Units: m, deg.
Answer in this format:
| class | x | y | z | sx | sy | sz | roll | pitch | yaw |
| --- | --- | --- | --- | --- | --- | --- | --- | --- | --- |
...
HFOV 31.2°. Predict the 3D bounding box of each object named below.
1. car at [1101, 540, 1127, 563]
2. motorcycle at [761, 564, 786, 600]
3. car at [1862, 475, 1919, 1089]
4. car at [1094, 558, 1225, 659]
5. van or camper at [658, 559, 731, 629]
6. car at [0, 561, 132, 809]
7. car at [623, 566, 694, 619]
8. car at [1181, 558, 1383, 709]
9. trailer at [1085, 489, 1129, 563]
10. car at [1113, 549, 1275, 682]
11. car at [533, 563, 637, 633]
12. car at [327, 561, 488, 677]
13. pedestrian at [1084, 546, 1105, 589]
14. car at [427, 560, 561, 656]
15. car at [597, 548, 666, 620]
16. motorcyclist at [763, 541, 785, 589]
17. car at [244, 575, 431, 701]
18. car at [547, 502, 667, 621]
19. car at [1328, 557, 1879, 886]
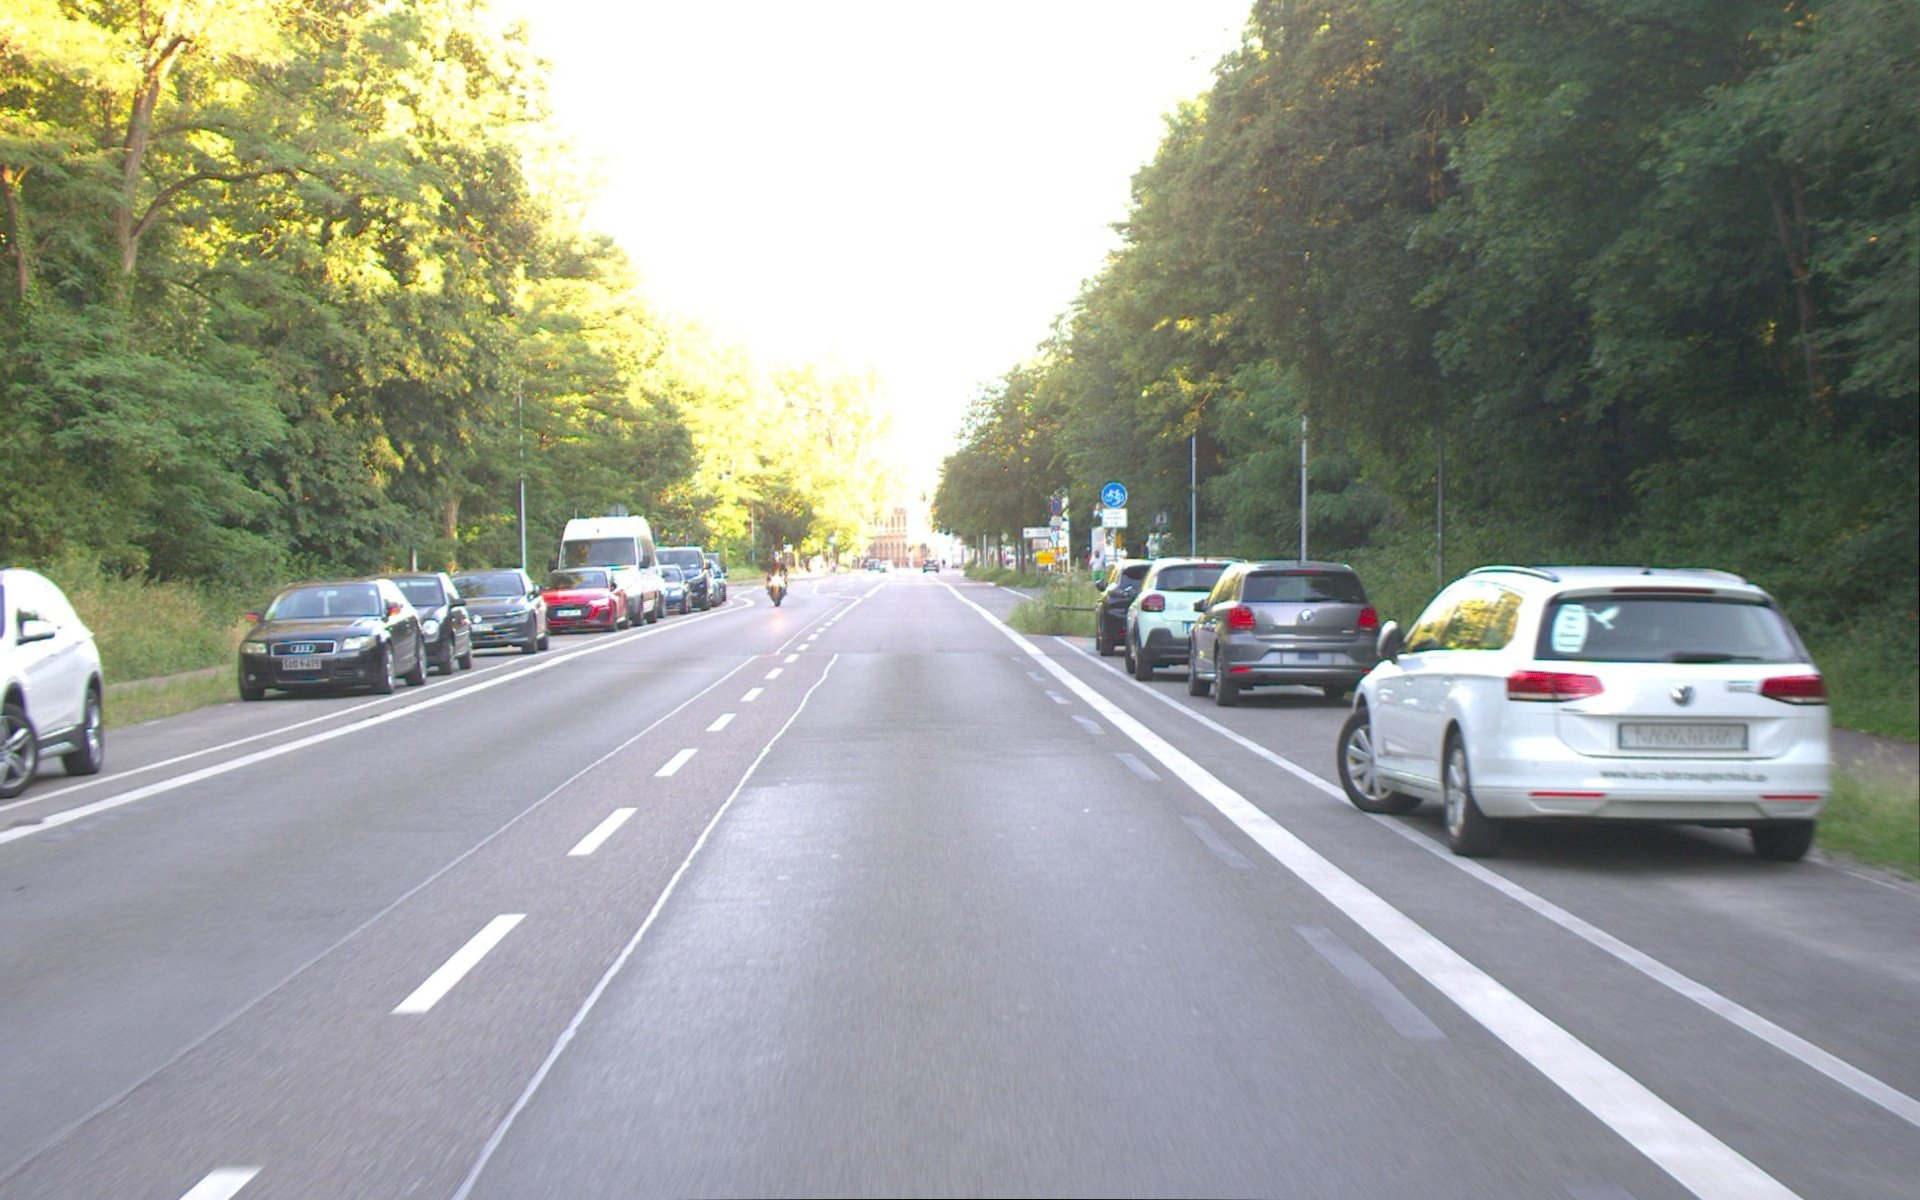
| class | x | y | z | sx | sy | sz | roll | pitch | yaw |
| --- | --- | --- | --- | --- | --- | --- | --- | --- | --- |
| car | 11.003 | -3.468 | 244.844 | 1.770 | 1.578 | 4.818 | 1 | 0 | 3 |
| motorcycle | -5.926 | -0.578 | 109.374 | 0.611 | 1.123 | 1.961 | -1 | 1 | 2 |
| car | 3.791 | 0.565 | 8.056 | 1.851 | 1.759 | 4.725 | 1 | 1 | -3 |
| car | 2.984 | 0.100 | 52.079 | 1.710 | 1.439 | 4.122 | 0 | 1 | -1 |
| van or camper | -8.199 | -0.218 | 106.573 | 2.002 | 2.011 | 5.462 | -3 | 1 | -3 |
| car | -7.371 | 0.577 | 25.029 | 1.695 | 1.640 | 4.573 | -2 | 1 | -2 |
| car | -8.718 | -0.242 | 99.749 | 1.669 | 1.428 | 4.447 | -2 | 1 | -1 |
| car | 3.278 | 0.306 | 35.586 | 1.579 | 1.441 | 3.961 | -1 | 1 | -2 |
| trailer | 11.085 | -5.573 | 260.006 | 3.020 | 5.443 | 7.934 | 0 | 0 | 0 |
| car | 2.845 | 0.156 | 42.488 | 1.688 | 1.541 | 4.112 | -1 | 1 | 0 |
| car | -8.145 | -0.066 | 74.968 | 1.716 | 1.425 | 4.388 | -2 | 1 | 1 |
| car | -7.774 | 0.237 | 48.671 | 1.711 | 1.503 | 3.657 | -2 | 1 | -1 |
| pedestrian | 5.620 | -1.352 | 143.249 | 0.838 | 1.745 | 0.726 | 0 | 0 | 0 |
| car | -7.848 | 0.109 | 58.224 | 1.845 | 1.457 | 4.230 | -3 | 1 | -3 |
| car | -8.787 | -0.456 | 92.232 | 1.687 | 1.852 | 4.388 | 0 | 1 | -3 |
| motorcyclist | -5.927 | -1.113 | 109.454 | 0.604 | 1.524 | 0.995 | -1 | 1 | 2 |
| car | -7.524 | 0.426 | 41.854 | 1.597 | 1.390 | 4.052 | -2 | 1 | -1 |
| car | -8.386 | -0.921 | 82.269 | 2.079 | 2.597 | 7.089 | -3 | 1 | -1 |
| car | 3.277 | 0.542 | 18.506 | 1.843 | 1.488 | 4.760 | 0 | 1 | -3 |
